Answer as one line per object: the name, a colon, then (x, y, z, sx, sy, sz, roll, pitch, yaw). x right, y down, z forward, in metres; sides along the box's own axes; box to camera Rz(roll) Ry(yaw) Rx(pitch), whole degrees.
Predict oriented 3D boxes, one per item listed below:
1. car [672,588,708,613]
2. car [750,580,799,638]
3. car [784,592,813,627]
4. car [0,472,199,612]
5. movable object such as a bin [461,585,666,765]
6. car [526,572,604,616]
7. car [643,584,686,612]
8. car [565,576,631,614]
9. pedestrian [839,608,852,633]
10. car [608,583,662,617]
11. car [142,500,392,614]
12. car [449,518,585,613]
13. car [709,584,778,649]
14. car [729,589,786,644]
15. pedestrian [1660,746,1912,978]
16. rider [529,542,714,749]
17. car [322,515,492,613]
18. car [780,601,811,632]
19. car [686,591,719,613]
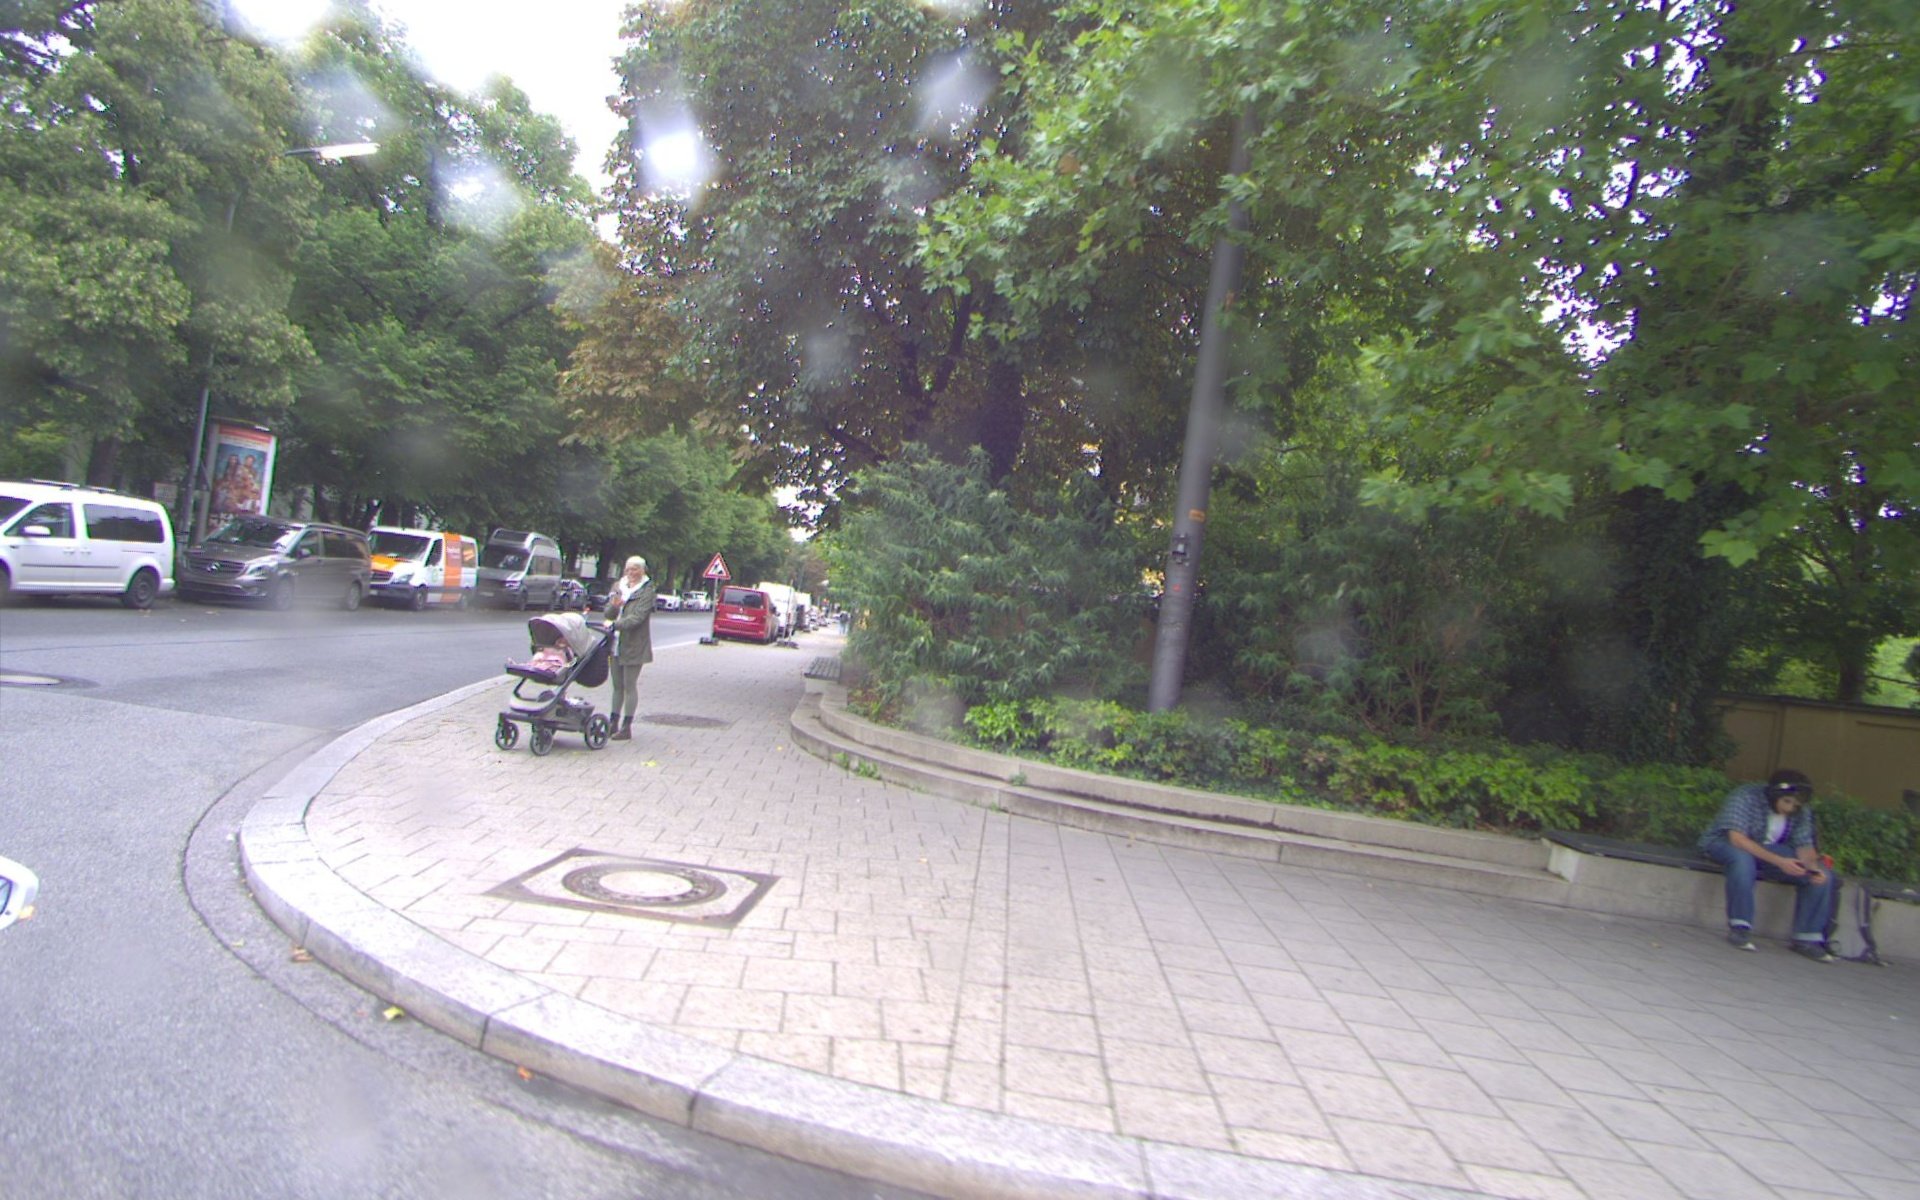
car: (-20.985, 0.054, 78.346, 1.868, 1.589, 4.073, 8, -1, -5)
car: (-9.548, 0.459, 52.082, 2.013, 2.588, 5.241, 8, -1, -9)
car: (-13.421, 0.762, 83.898, 2.013, 2.588, 5.241, 8, -1, -9)
car: (-14.350, -0.917, 15.328, 1.898, 1.916, 4.866, 8, -1, -5)
movable object such as a bin: (-3.217, 0.593, 8.278, 1.061, 1.283, 1.087, 5, -1, 9)
car: (-17.329, -0.223, 44.391, 1.868, 1.589, 4.308, 8, -1, -5)
car: (-20.217, -0.108, 69.065, 1.868, 1.589, 4.073, 8, -1, -5)
car: (-17.679, -0.205, 49.294, 1.868, 1.556, 4.073, 8, -1, -5)
pedestrian: (-7.879, 1.418, 69.150, 0.696, 1.604, 0.845, 8, 0, -9)
car: (-18.632, 0.031, 57.814, 1.868, 1.589, 4.073, 8, -1, -5)
car: (-14.792, -0.797, 21.940, 2.035, 1.880, 4.985, 8, -1, -4)
car: (-16.708, -1.164, 38.435, 2.301, 2.956, 6.577, 8, -1, -4)
car: (-7.746, 0.563, 36.393, 2.014, 1.945, 4.440, 8, -1, -9)
car: (-8.535, 0.663, 42.788, 2.014, 1.945, 4.440, 8, -1, -9)
pedestrian: (5.370, 1.664, 6.617, 0.799, 1.203, 0.920, 8, -1, 7)
rider: (-3.058, 0.406, 9.219, 1.065, 1.688, 1.140, 5, -1, 9)
car: (-15.792, -0.922, 29.139, 2.080, 2.277, 5.194, 8, -1, -4)
car: (-12.246, 1.195, 74.940, 2.014, 1.945, 4.440, 8, -1, -9)
car: (-21.653, 0.176, 84.838, 1.868, 1.589, 4.073, 8, -1, -5)
